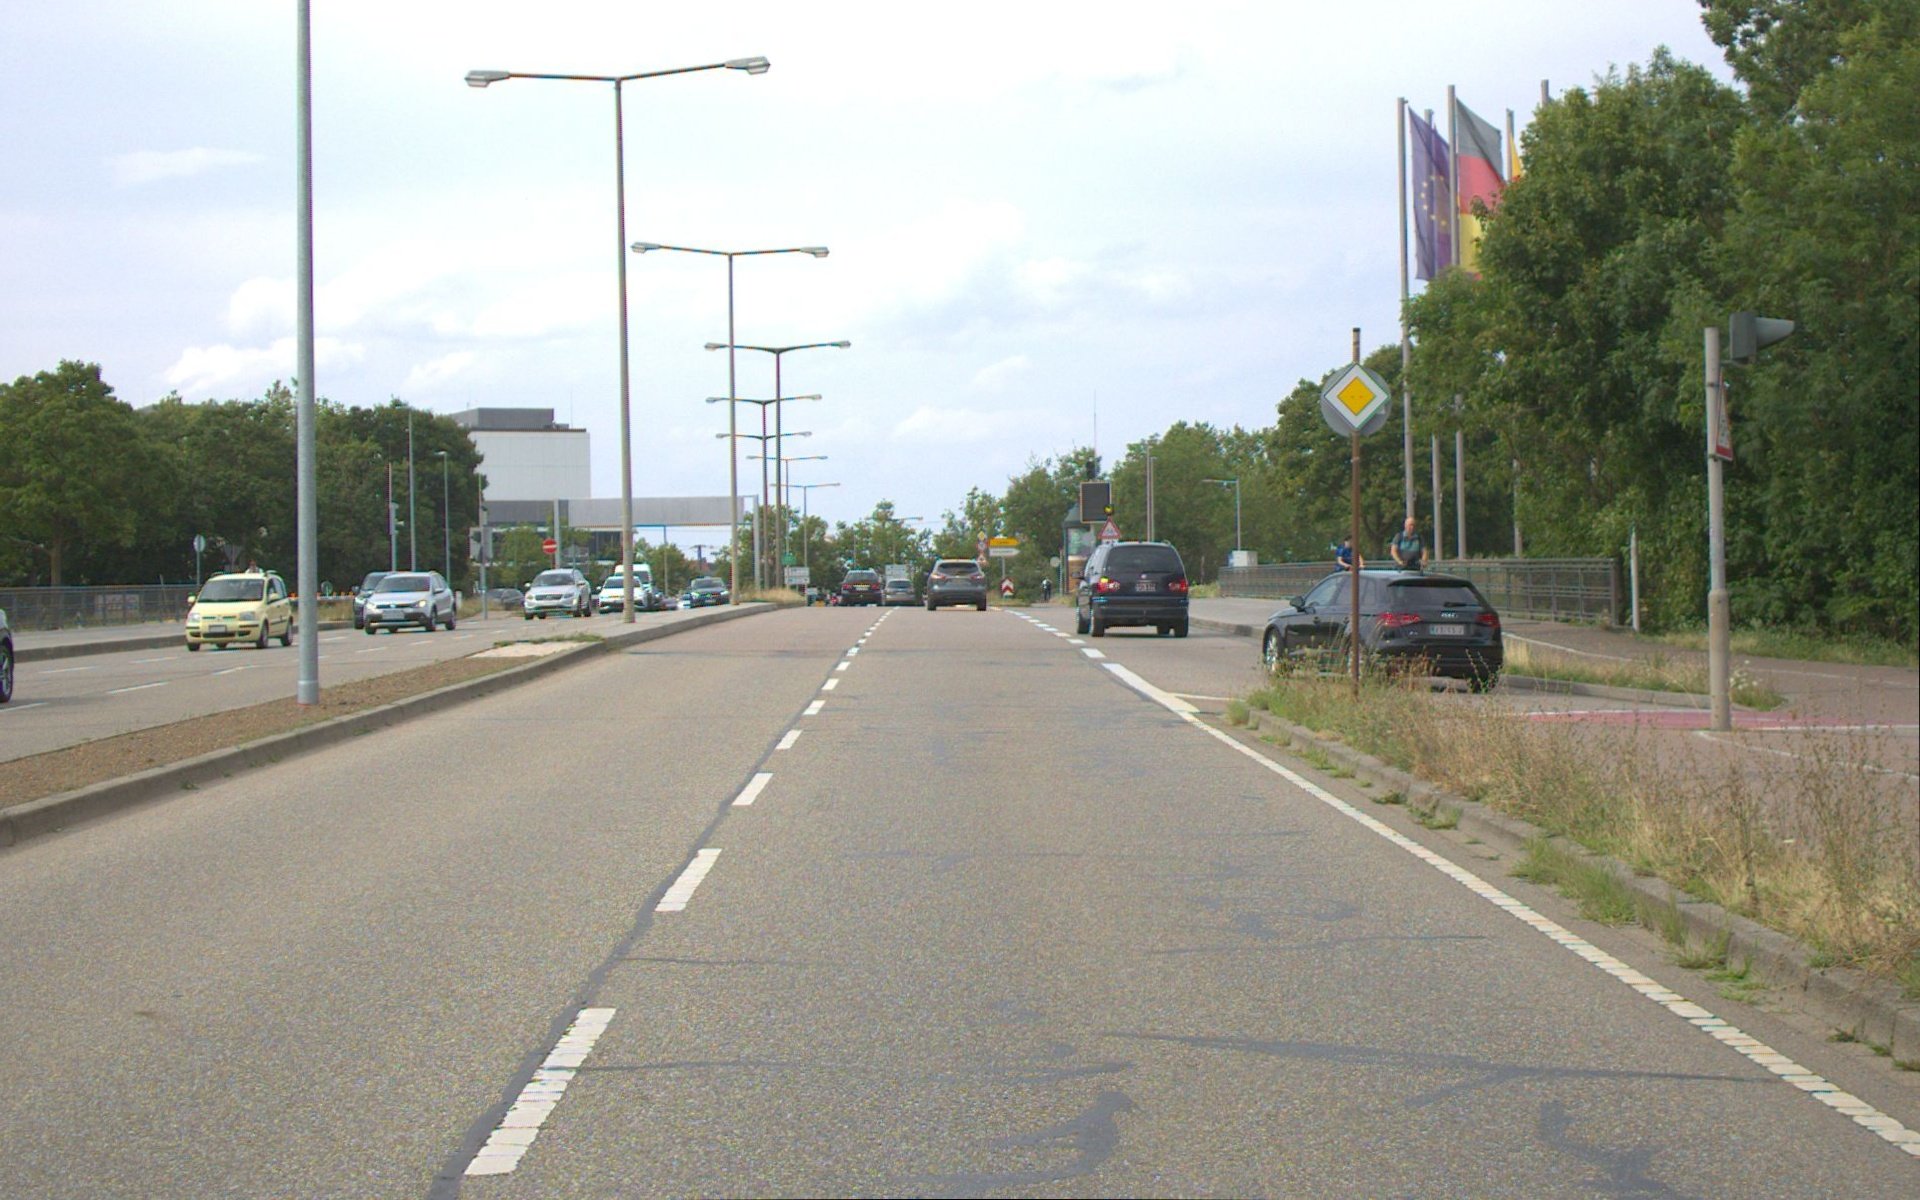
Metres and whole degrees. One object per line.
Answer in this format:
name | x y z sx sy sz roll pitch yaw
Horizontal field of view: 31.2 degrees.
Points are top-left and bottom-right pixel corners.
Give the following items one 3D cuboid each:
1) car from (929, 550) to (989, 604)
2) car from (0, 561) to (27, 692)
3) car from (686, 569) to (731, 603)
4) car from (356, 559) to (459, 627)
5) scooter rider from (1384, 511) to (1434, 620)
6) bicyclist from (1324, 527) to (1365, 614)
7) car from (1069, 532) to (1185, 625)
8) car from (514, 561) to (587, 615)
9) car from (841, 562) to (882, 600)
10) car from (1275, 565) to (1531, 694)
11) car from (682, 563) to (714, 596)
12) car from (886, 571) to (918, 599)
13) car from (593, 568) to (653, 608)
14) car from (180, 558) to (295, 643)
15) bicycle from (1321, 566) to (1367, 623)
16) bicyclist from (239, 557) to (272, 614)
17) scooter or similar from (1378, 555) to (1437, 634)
car | -0.054 -0.691 106.963 1.730 1.647 4.115 0 0 -2
car | -11.471 0.355 36.945 1.763 1.436 4.177 -2 1 -1
car | -11.608 -0.641 158.907 1.738 1.475 4.776 -2 0 -1
car | -13.441 -0.181 83.826 1.649 1.510 4.016 -2 1 2
scooter rider | 7.033 -0.538 53.882 0.587 1.685 0.744 1 0 -8
bicyclist | 7.459 -0.576 66.717 0.664 1.653 0.805 1 2 -1
car | 3.049 -0.385 63.314 1.730 1.647 4.115 0 0 -3
car | -14.025 -0.427 117.974 1.863 1.719 4.770 -2 1 0
car | -4.354 -0.851 152.286 1.730 1.647 4.115 0 0 0
car | 5.273 0.314 41.436 1.730 1.390 4.116 -1 2 -13
car | -15.593 -1.207 204.421 1.540 1.865 3.570 -2 1 0
car | -3.204 -0.799 189.044 1.730 1.521 4.115 0 0 -2
car | -13.239 -0.480 135.187 1.738 1.475 4.471 -2 1 2
car | -14.661 -0.010 69.898 1.548 1.572 3.691 -2 1 -1
bicycle | 7.450 -0.114 66.803 0.577 1.018 1.976 -3 2 -1
bicyclist | -20.311 -0.429 99.140 0.794 1.621 0.976 1 0 -3
scooter or similar | 7.016 -0.085 53.950 0.588 1.220 1.203 1 0 -9
